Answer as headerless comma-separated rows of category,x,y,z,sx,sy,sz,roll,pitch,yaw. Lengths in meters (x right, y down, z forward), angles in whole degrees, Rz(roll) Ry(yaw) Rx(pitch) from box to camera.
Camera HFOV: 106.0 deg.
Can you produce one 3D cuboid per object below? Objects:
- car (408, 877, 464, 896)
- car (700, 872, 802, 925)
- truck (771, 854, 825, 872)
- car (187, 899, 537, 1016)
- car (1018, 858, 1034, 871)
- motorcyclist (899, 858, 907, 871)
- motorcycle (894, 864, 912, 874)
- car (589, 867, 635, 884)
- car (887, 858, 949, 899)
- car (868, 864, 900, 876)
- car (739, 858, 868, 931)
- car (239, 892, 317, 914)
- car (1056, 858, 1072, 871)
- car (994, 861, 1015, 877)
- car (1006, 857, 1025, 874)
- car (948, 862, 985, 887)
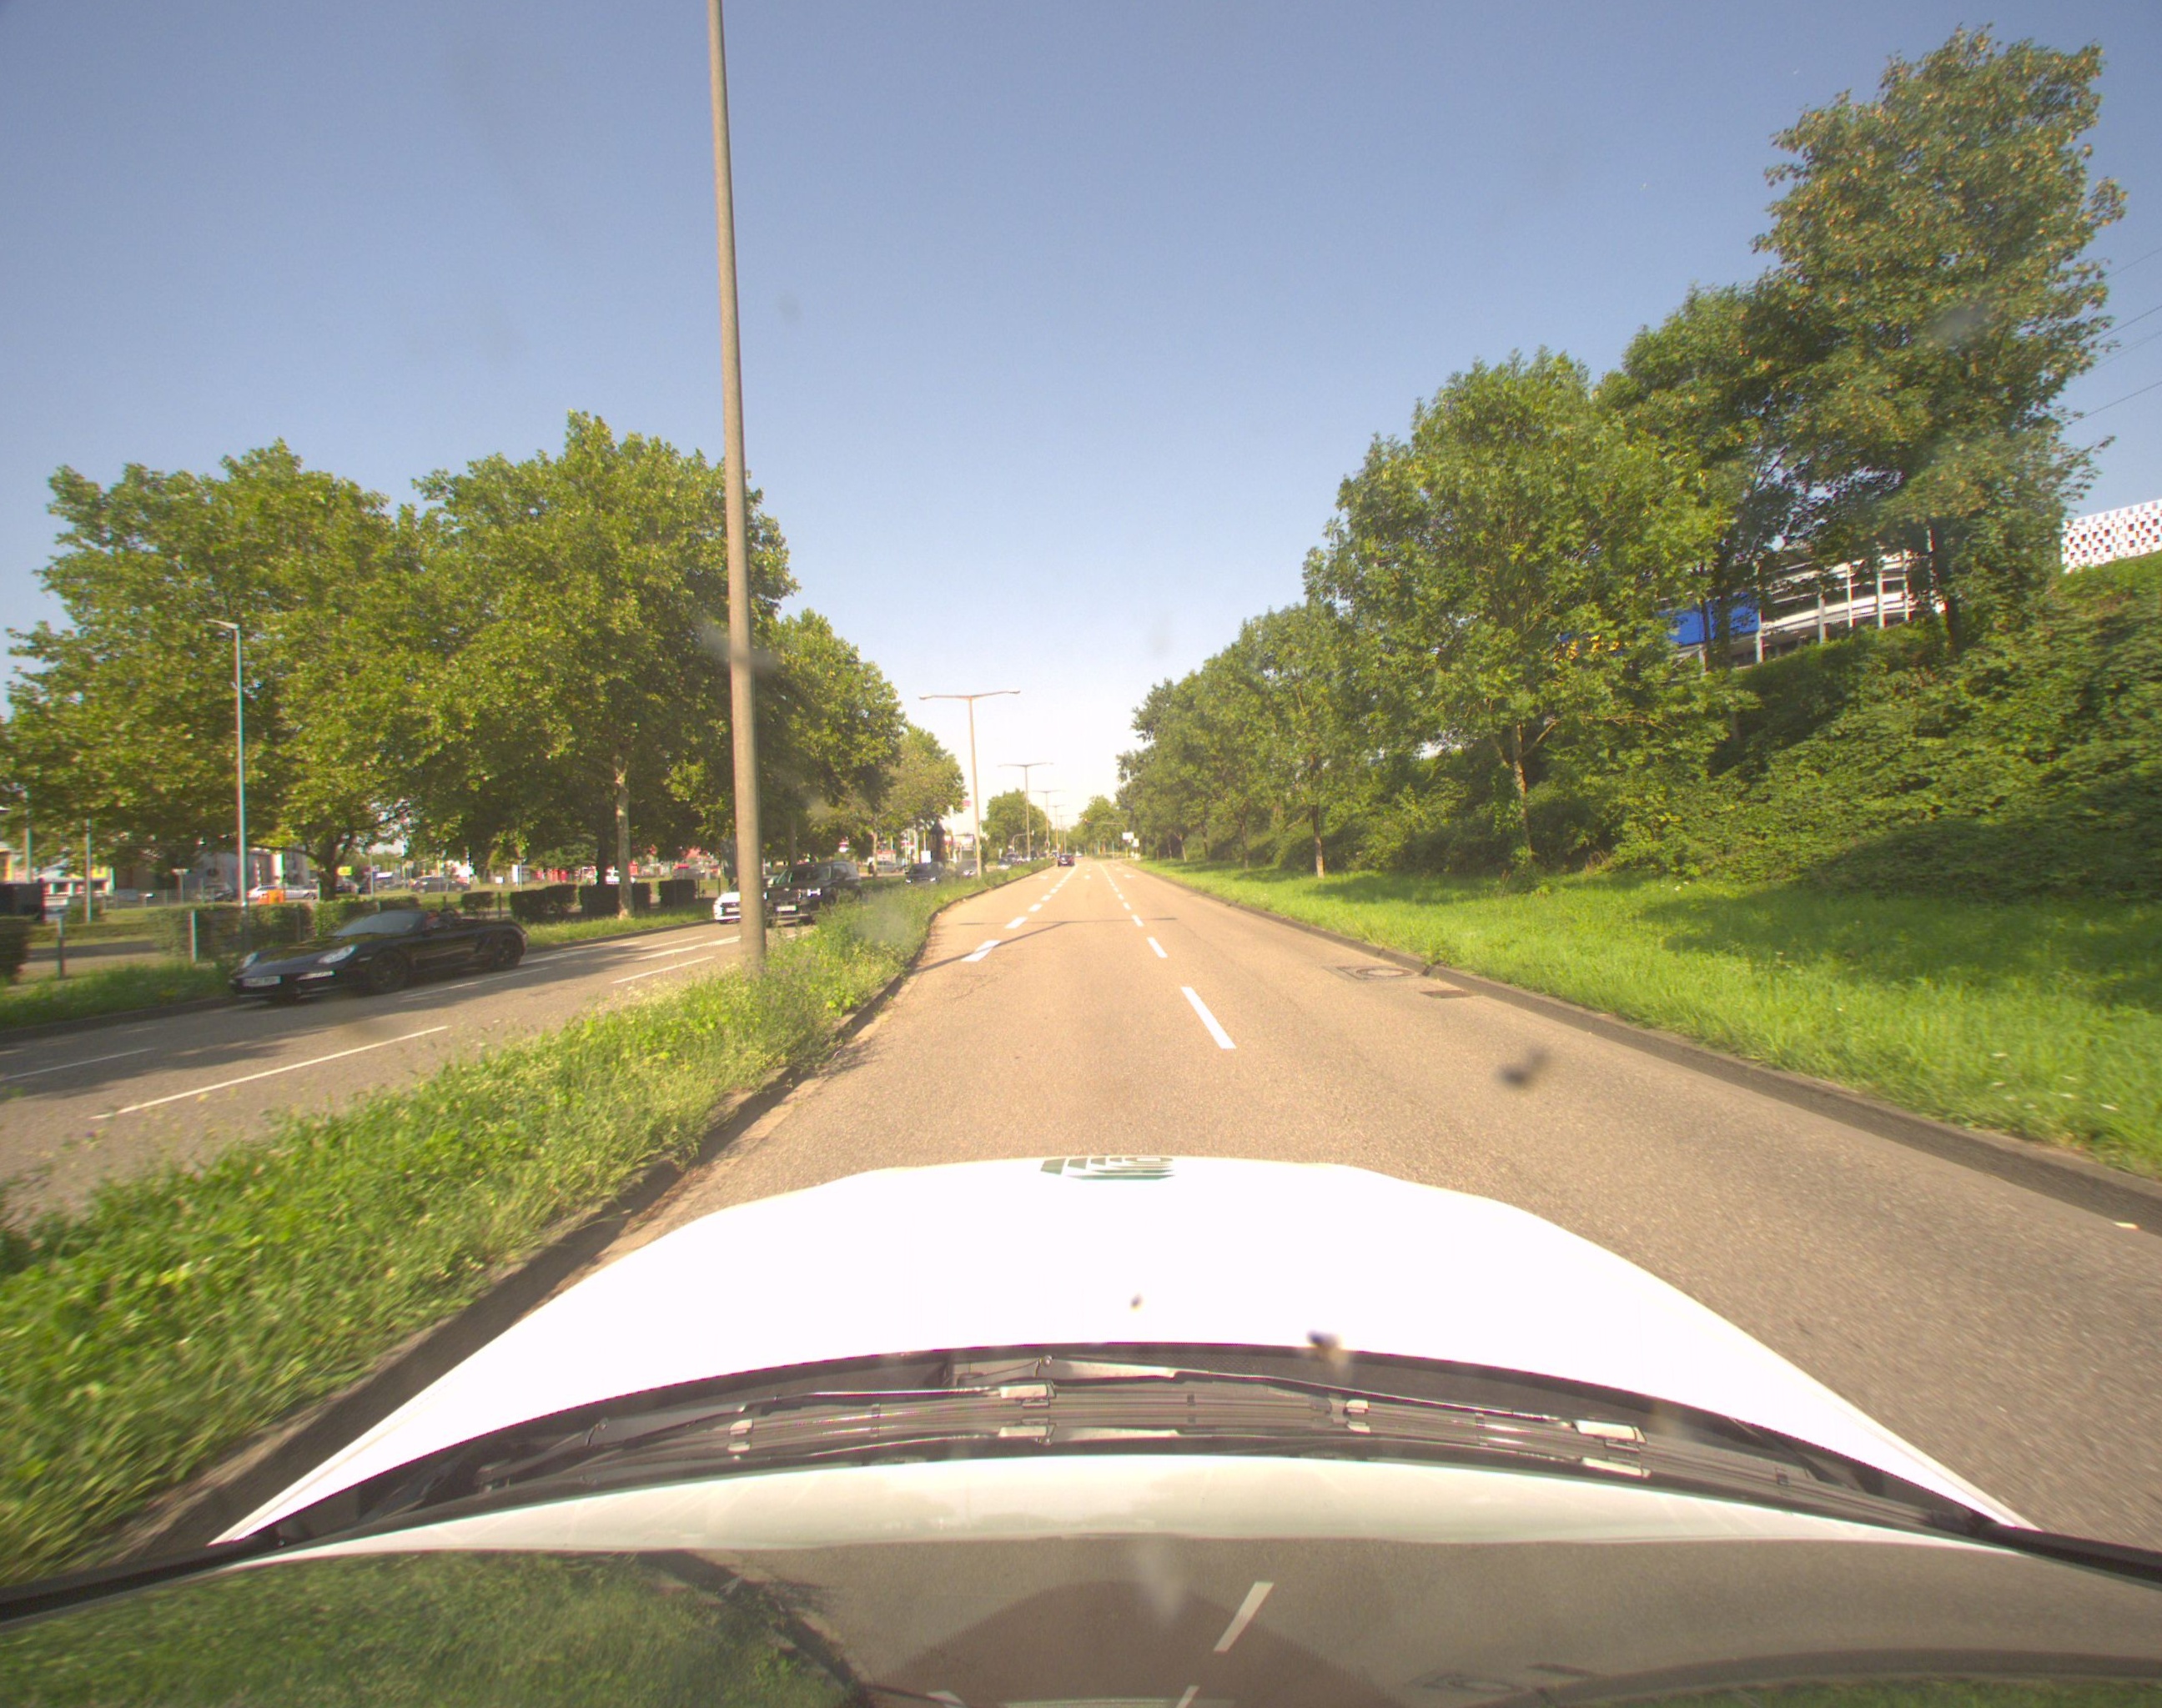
car,-61.081,3.062,77.176,4.017,1.545,1.820,-3,0,-35
car,-10.929,1.427,27.288,1.785,1.482,3.998,-3,0,-1
truck,-53.658,1.693,154.618,9.054,2.957,3.476,-3,0,-36
car,-11.109,1.516,13.072,1.783,1.263,4.098,-4,0,2
car,-8.493,1.669,126.872,1.988,1.705,4.502,-9,0,-1
motorcyclist,-22.536,1.364,103.089,0.687,1.572,0.676,-1,-1,-35
motorcycle,-22.542,1.908,103.065,2.085,1.136,0.670,-2,-1,-35
car,-49.357,2.223,85.702,4.018,1.679,1.849,-1,0,-36
car,-8.010,1.151,40.387,1.987,1.759,4.307,-4,0,1
car,-25.256,2.078,104.644,3.719,1.443,1.451,-1,-1,-36
car,-7.785,1.058,23.389,1.987,1.759,4.477,-4,0,1
car,-69.302,4.192,70.414,4.612,1.545,1.849,-1,0,-39
car,-2.025,1.230,97.247,1.686,1.486,4.000,-3,0,0
car,-7.429,1.426,79.680,1.671,1.486,3.492,-2,0,0
car,-8.284,1.498,103.761,1.926,2.027,4.565,-3,0,0
car,-7.928,1.385,56.708,1.873,1.594,4.108,-3,0,0
